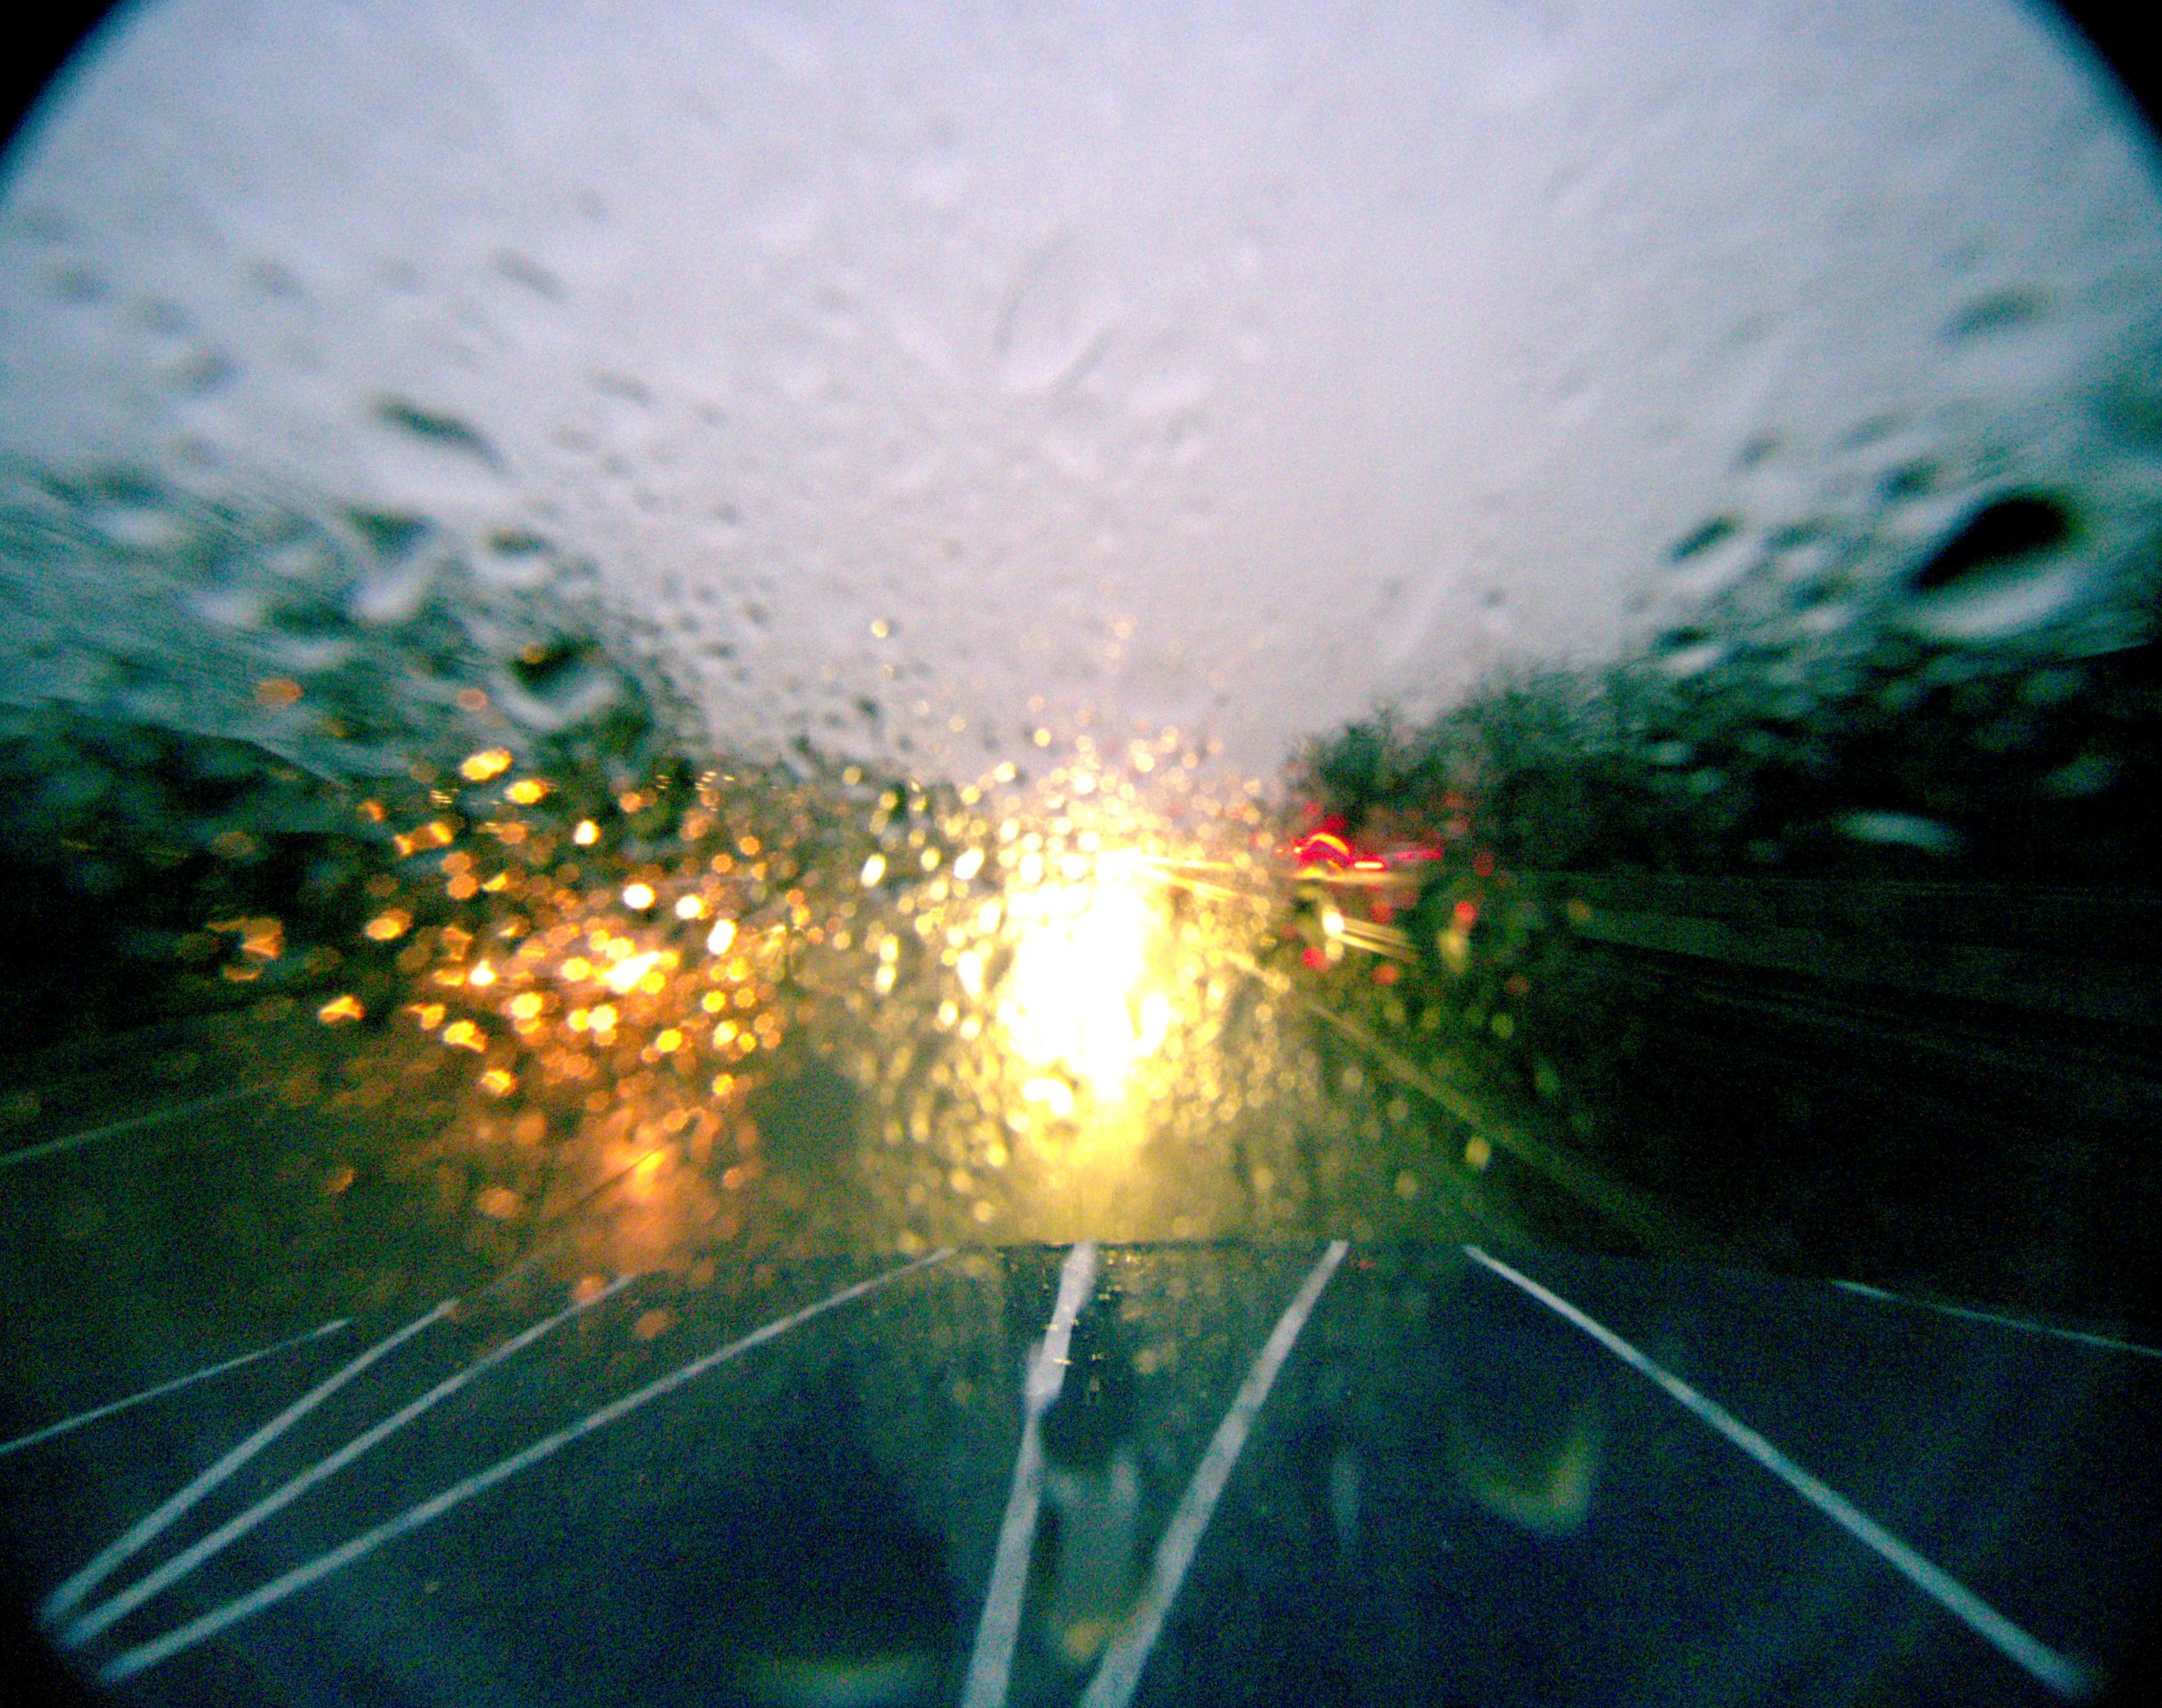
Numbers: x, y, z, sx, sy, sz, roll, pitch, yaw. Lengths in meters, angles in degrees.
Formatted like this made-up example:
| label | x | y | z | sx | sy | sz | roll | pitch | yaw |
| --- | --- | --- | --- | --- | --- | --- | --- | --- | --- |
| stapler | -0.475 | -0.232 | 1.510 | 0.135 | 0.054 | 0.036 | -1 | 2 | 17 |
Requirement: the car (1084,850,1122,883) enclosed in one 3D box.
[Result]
| label | x | y | z | sx | sy | sz | roll | pitch | yaw |
| --- | --- | --- | --- | --- | --- | --- | --- | --- | --- |
| car | 1.116 | 0.601 | 40.274 | 1.758 | 1.521 | 3.999 | -3 | 1 | 0 |

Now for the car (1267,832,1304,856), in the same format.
| label | x | y | z | sx | sy | sz | roll | pitch | yaw |
| --- | --- | --- | --- | --- | --- | --- | --- | --- | --- |
| car | 17.384 | -0.857 | 64.846 | 1.885 | 1.822 | 4.786 | -3 | 1 | 2 |

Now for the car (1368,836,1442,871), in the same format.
| label | x | y | z | sx | sy | sz | roll | pitch | yaw |
| --- | --- | --- | --- | --- | --- | --- | --- | --- | --- |
| car | 15.699 | -0.056 | 37.015 | 1.867 | 1.530 | 4.112 | -3 | 1 | 1 |

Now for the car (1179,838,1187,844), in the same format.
| label | x | y | z | sx | sy | sz | roll | pitch | yaw |
| --- | --- | --- | --- | --- | --- | --- | --- | --- | --- |
| car | 27.179 | -3.602 | 202.557 | 1.740 | 1.486 | 3.843 | -3 | 1 | 5 |

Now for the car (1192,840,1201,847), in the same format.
| label | x | y | z | sx | sy | sz | roll | pitch | yaw |
| --- | --- | --- | --- | --- | --- | --- | --- | --- | --- |
| car | 27.409 | -2.433 | 179.985 | 1.707 | 1.557 | 4.851 | -3 | 1 | 4 |

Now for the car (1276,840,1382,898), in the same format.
| label | x | y | z | sx | sy | sz | roll | pitch | yaw |
| --- | --- | --- | --- | --- | --- | --- | --- | --- | --- |
| car | 7.025 | 0.348 | 21.913 | 1.758 | 1.433 | 3.999 | -3 | 1 | 1 |

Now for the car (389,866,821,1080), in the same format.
| label | x | y | z | sx | sy | sz | roll | pitch | yaw |
| --- | --- | --- | --- | --- | --- | --- | --- | --- | --- |
| car | -4.599 | 1.009 | 8.302 | 1.854 | 1.493 | 4.262 | -3 | 1 | 2 |

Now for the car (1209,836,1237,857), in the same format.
| label | x | y | z | sx | sy | sz | roll | pitch | yaw |
| --- | --- | --- | --- | --- | --- | --- | --- | --- | --- |
| car | 13.380 | -0.734 | 71.799 | 1.888 | 1.822 | 4.786 | -3 | 1 | 2 |

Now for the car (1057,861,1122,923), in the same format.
| label | x | y | z | sx | sy | sz | roll | pitch | yaw |
| --- | --- | --- | --- | --- | --- | --- | --- | --- | --- |
| car | 0.227 | 0.991 | 21.559 | 1.595 | 1.445 | 4.176 | -3 | 0 | 0 |

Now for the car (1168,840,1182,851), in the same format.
| label | x | y | z | sx | sy | sz | roll | pitch | yaw |
| --- | --- | --- | --- | --- | --- | --- | --- | --- | --- |
| car | 14.014 | -1.311 | 113.591 | 1.787 | 1.501 | 4.135 | -3 | 1 | 3 |
